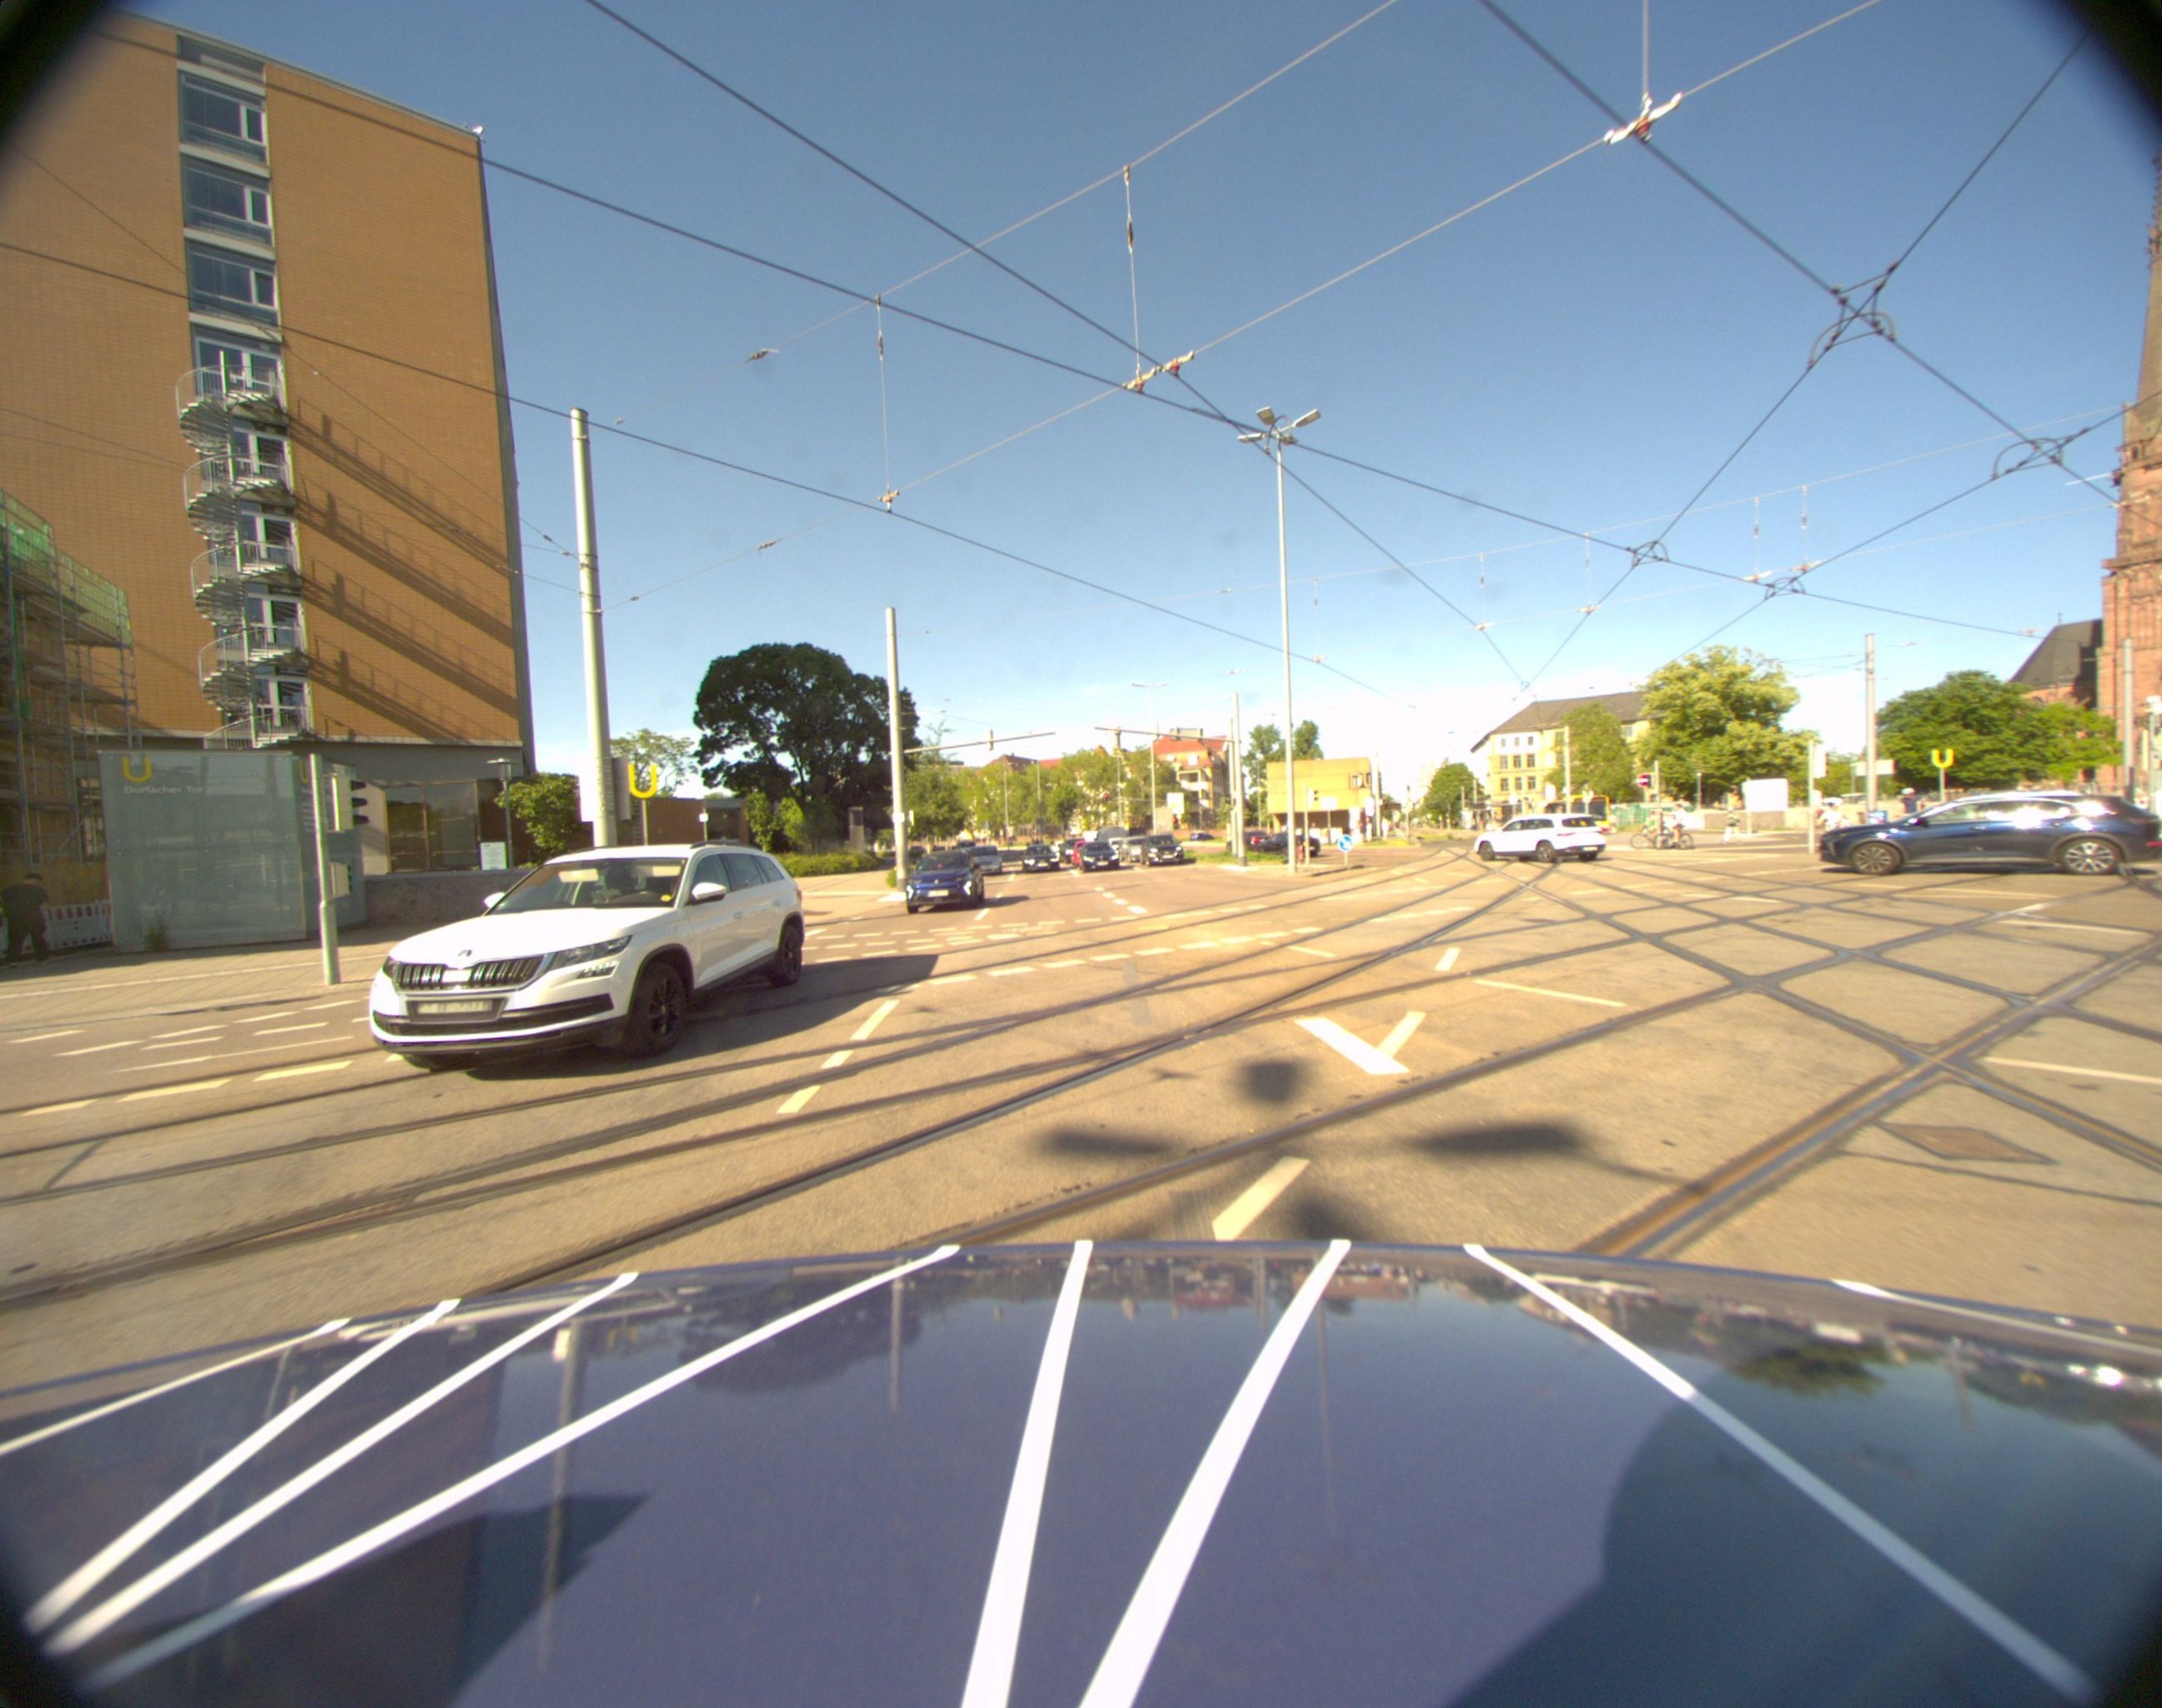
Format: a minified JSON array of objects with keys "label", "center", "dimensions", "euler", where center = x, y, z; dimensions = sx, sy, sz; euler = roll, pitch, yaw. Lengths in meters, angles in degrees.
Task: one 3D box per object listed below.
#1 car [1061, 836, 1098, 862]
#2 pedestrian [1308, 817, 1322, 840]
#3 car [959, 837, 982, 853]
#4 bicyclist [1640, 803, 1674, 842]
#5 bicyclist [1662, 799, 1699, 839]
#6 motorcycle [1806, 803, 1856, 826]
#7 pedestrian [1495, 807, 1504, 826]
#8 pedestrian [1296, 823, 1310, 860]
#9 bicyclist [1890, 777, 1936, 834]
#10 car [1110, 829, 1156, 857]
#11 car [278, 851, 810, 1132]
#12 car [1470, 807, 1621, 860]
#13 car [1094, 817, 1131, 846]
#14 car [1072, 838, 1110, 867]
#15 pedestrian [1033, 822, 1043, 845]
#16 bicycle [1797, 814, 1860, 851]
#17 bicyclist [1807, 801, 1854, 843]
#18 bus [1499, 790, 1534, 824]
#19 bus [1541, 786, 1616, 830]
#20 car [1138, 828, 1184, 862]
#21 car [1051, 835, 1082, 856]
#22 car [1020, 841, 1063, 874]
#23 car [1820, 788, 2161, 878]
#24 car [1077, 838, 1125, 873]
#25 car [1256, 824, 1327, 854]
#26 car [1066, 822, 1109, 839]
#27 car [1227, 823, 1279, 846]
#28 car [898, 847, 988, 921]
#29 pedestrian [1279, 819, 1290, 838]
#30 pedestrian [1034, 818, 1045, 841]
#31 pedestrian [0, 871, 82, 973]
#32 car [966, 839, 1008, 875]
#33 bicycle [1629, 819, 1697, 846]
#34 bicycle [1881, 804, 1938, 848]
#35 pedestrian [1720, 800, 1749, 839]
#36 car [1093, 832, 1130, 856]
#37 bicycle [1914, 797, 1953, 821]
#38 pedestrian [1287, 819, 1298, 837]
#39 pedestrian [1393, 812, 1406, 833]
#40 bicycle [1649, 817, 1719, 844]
[{"label":"car","center":[-0.132,-0.344,50.313],"dimensions":[1.761,1.526,4.117],"euler":[-5,2,-9]},{"label":"pedestrian","center":[19.092,-2.059,62.068],"dimensions":[0.857,1.819,0.703],"euler":[-3,3,31]},{"label":"car","center":[-11.172,-0.918,76.342],"dimensions":[1.922,1.450,4.662],"euler":[-5,2,-11]},{"label":"bicyclist","center":[23.638,-1.287,31.183],"dimensions":[0.956,1.520,0.576],"euler":[-5,3,-6]},{"label":"bicyclist","center":[23.821,-1.379,30.214],"dimensions":[0.996,1.541,0.595],"euler":[-3,3,-5]},{"label":"motorcycle","center":[46.230,-2.453,46.842],"dimensions":[2.101,1.247,0.535],"euler":[-3,3,22]},{"label":"pedestrian","center":[41.537,-3.754,75.383],"dimensions":[0.690,1.851,0.730],"euler":[-3,3,27]},{"label":"pedestrian","center":[9.397,-0.548,32.189],"dimensions":[0.372,1.547,0.644],"euler":[-4,3,4]},{"label":"bicyclist","center":[25.331,-1.461,23.138],"dimensions":[0.796,1.666,0.758],"euler":[-4,3,-25]},{"label":"car","center":[3.017,-0.670,44.943],"dimensions":[1.825,1.450,4.656],"euler":[-5,2,-6]},{"label":"car","center":[-4.173,0.860,7.031],"dimensions":[1.869,1.636,4.394],"euler":[-2,1,-3]},{"label":"car","center":[16.247,-0.737,26.920],"dimensions":[2.004,1.632,4.559],"euler":[-3,2,-11]},{"label":"car","center":[3.106,-2.285,77.174],"dimensions":[2.244,2.666,5.298],"euler":[-5,2,-13]},{"label":"car","center":[0.506,-0.110,43.773],"dimensions":[1.714,1.450,4.009],"euler":[-4,2,-4]},{"label":"pedestrian","center":[-4.726,-2.267,83.600],"dimensions":[0.876,2.422,0.888],"euler":[-5,3,-10]},{"label":"bicycle","center":[23.879,-0.681,24.277],"dimensions":[1.725,1.099,0.615],"euler":[-3,2,-12]},{"label":"bicyclist","center":[23.921,-1.016,24.271],"dimensions":[0.795,1.315,0.759],"euler":[-3,2,-12]},{"label":"bus","center":[42.643,-4.555,74.522],"dimensions":[2.136,3.029,8.569],"euler":[-3,1,25]},{"label":"bus","center":[41.314,-3.962,63.553],"dimensions":[2.844,3.105,11.829],"euler":[-3,4,22]},{"label":"car","center":[4.005,-0.511,38.507],"dimensions":[1.686,1.523,3.912],"euler":[-4,2,-2]},{"label":"car","center":[-1.166,-0.680,57.887],"dimensions":[1.761,1.448,4.117],"euler":[-5,2,-8]},{"label":"car","center":[-2.132,0.131,40.054],"dimensions":[1.922,1.450,3.862],"euler":[-5,2,-7]},{"label":"car","center":[18.673,-0.422,15.828],"dimensions":[2.048,1.568,4.616],"euler":[-6,4,-44]},{"label":"car","center":[0.931,0.033,37.573],"dimensions":[1.887,1.450,4.009],"euler":[-4,2,-4]},{"label":"car","center":[11.371,-0.822,41.314],"dimensions":[1.852,1.408,4.475],"euler":[-3,2,-11]},{"label":"car","center":[0.830,-3.132,100.881],"dimensions":[5.236,1.793,2.408],"euler":[-5,2,-7]},{"label":"car","center":[12.053,-1.374,53.624],"dimensions":[1.887,1.450,4.639],"euler":[-4,2,-9]},{"label":"car","center":[-3.689,0.727,20.994],"dimensions":[1.887,1.621,4.009],"euler":[-4,2,-4]},{"label":"pedestrian","center":[19.284,-2.435,71.926],"dimensions":[0.748,1.703,0.703],"euler":[-2,3,37]},{"label":"pedestrian","center":[-4.550,-2.671,82.626],"dimensions":[0.876,2.407,0.888],"euler":[-5,3,-10]},{"label":"pedestrian","center":[-19.752,1.255,14.272],"dimensions":[0.778,1.777,0.829],"euler":[-6,3,-30]},{"label":"car","center":[-4.976,0.125,40.823],"dimensions":[1.887,1.621,4.009],"euler":[-4,2,-4]},{"label":"bicycle","center":[23.890,-0.900,31.211],"dimensions":[2.476,0.984,0.615],"euler":[-3,2,-6]},{"label":"bicycle","center":[25.351,-0.859,23.244],"dimensions":[1.966,1.250,0.615],"euler":[-3,3,-25]},{"label":"pedestrian","center":[28.177,-1.483,32.766],"dimensions":[0.714,1.599,0.607],"euler":[-4,3,-3]},{"label":"car","center":[2.071,-0.756,52.708],"dimensions":[1.825,1.450,4.656],"euler":[-5,2,-6]},{"label":"bicycle","center":[50.692,-2.678,45.170],"dimensions":[1.498,1.263,0.366],"euler":[-3,3,27]},{"label":"pedestrian","center":[19.723,-2.429,70.889],"dimensions":[0.643,1.703,0.703],"euler":[-2,3,37]},{"label":"pedestrian","center":[29.563,-2.882,70.531],"dimensions":[0.857,1.870,0.694],"euler":[-3,3,31]},{"label":"bicycle","center":[23.982,-0.931,30.234],"dimensions":[2.476,0.984,0.615],"euler":[-3,2,-6]}]
